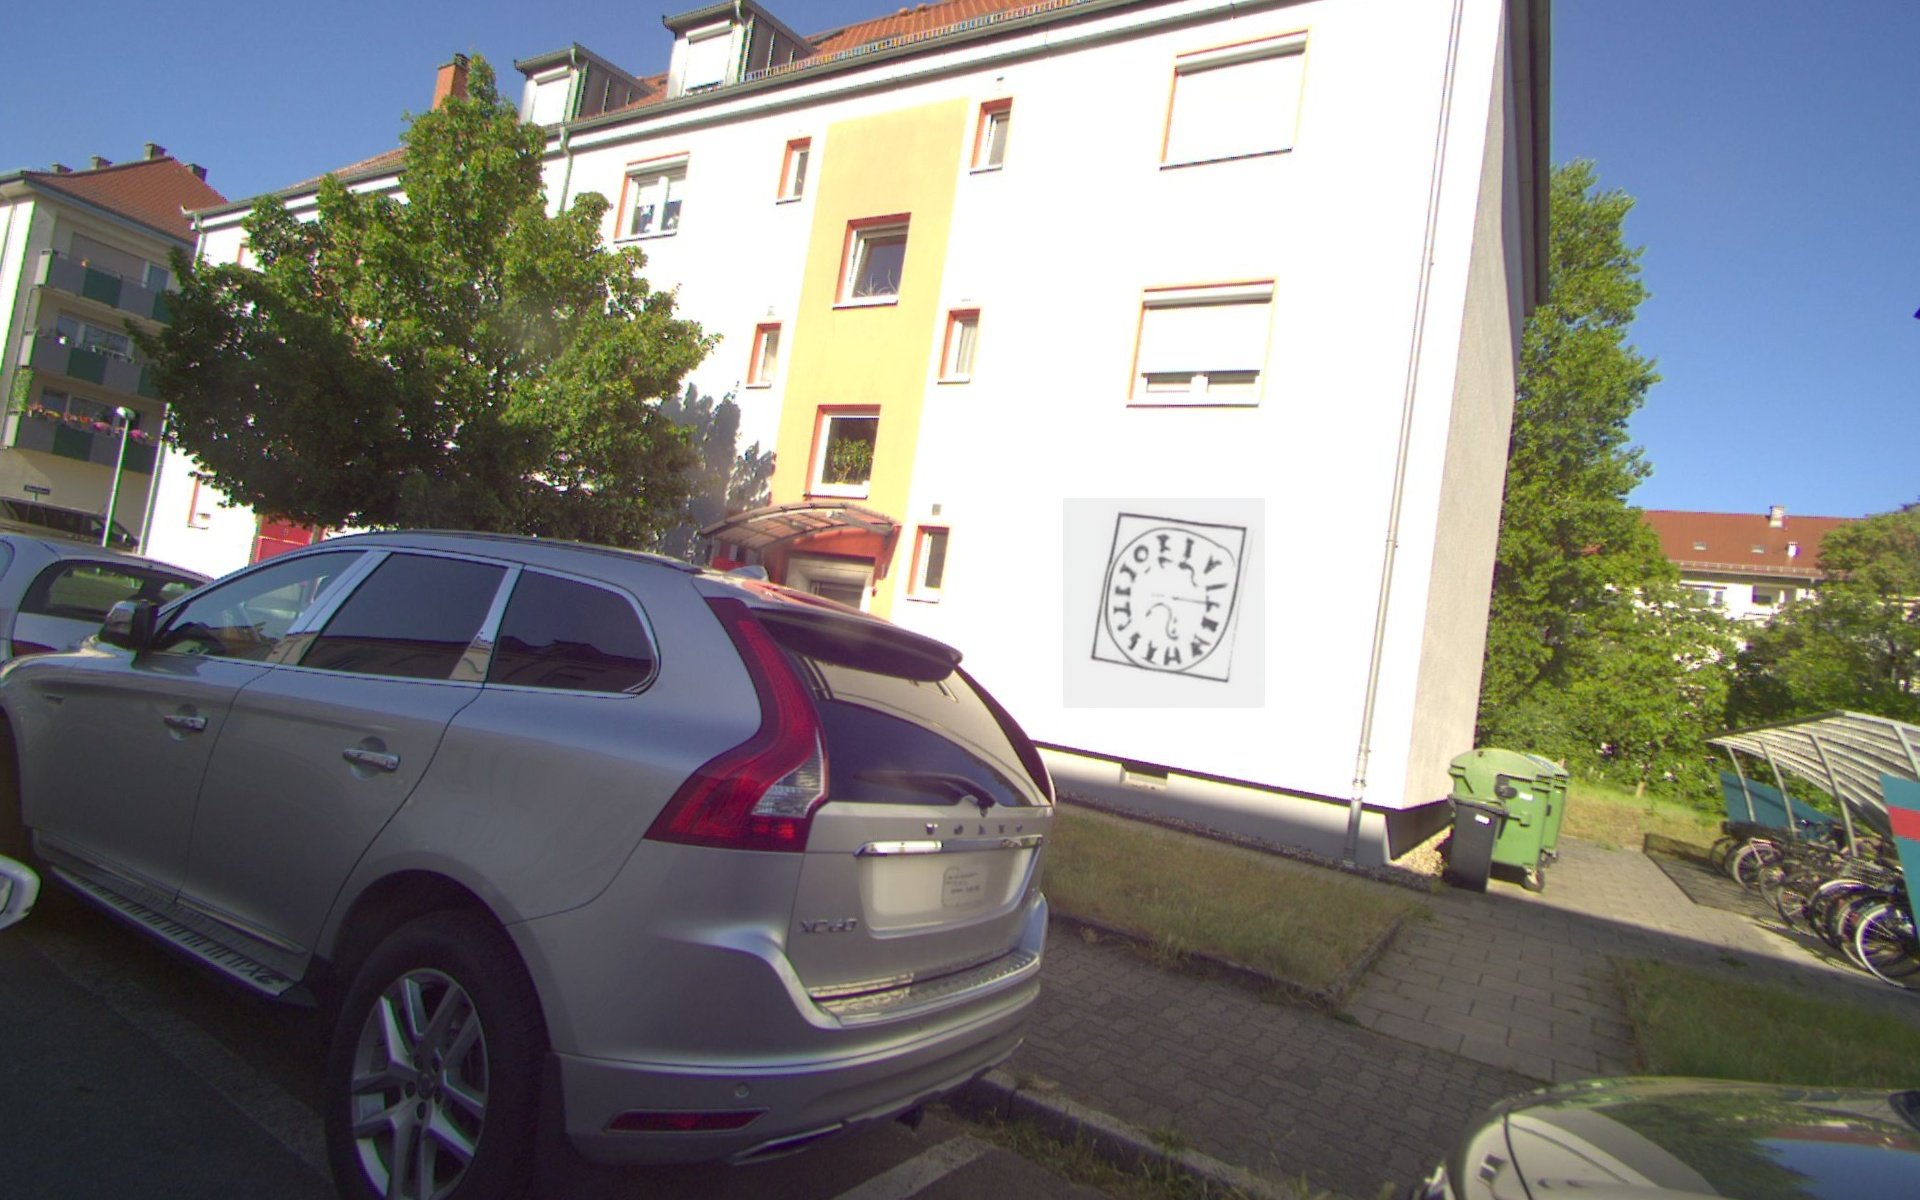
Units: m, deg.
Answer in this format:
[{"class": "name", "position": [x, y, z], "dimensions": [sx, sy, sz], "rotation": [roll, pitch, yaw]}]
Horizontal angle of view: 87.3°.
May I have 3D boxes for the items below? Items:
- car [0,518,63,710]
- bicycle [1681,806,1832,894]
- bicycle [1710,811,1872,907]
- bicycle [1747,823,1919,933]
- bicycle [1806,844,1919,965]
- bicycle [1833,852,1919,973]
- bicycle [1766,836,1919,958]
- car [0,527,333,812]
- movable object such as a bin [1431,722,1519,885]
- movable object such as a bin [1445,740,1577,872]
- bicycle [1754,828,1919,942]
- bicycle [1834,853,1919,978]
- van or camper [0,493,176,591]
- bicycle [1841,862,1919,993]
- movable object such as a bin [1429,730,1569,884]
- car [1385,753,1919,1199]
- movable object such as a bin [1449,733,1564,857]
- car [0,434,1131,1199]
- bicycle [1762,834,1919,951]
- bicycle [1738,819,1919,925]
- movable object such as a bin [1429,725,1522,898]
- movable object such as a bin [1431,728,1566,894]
[{"class": "car", "position": [-9.434, -0.208, 8.302], "dimensions": [3.883, 1.464, 1.636], "rotation": [8, -5, 28]}, {"class": "bicycle", "position": [12.413, 3.882, 15.724], "dimensions": [1.708, 0.957, 0.422], "rotation": [7, -1, 23]}, {"class": "bicycle", "position": [12.046, 3.737, 14.644], "dimensions": [1.714, 0.957, 0.421], "rotation": [6, -2, 39]}, {"class": "bicycle", "position": [11.220, 3.529, 12.858], "dimensions": [1.711, 0.957, 0.421], "rotation": [7, -1, 32]}, {"class": "bicycle", "position": [9.215, 3.027, 9.884], "dimensions": [1.262, 0.957, 0.319], "rotation": [7, -1, 34]}, {"class": "bicycle", "position": [9.032, 2.979, 9.359], "dimensions": [1.262, 0.957, 0.319], "rotation": [7, -1, 34]}, {"class": "bicycle", "position": [9.541, 3.149, 10.635], "dimensions": [1.484, 0.957, 0.319], "rotation": [7, -1, 34]}, {"class": "car", "position": [-5.922, 0.304, 6.519], "dimensions": [3.431, 1.407, 1.635], "rotation": [7, -6, 32]}, {"class": "movable object such as a bin", "position": [5.475, 2.133, 10.683], "dimensions": [0.614, 1.568, 0.595], "rotation": [7, -2, 32]}, {"class": "movable object such as a bin", "position": [7.576, 2.778, 13.806], "dimensions": [1.378, 1.450, 1.298], "rotation": [7, -3, 32]}, {"class": "bicycle", "position": [10.516, 3.382, 12.043], "dimensions": [1.484, 0.957, 0.319], "rotation": [7, -1, 34]}, {"class": "bicycle", "position": [8.711, 2.894, 8.977], "dimensions": [1.262, 0.957, 0.319], "rotation": [7, -1, 34]}, {"class": "van or camper", "position": [-25.906, -1.757, 28.590], "dimensions": [1.967, 2.035, 5.139], "rotation": [9, -3, 32]}, {"class": "bicycle", "position": [8.294, 2.834, 8.423], "dimensions": [1.262, 0.957, 0.319], "rotation": [7, -1, 34]}, {"class": "movable object such as a bin", "position": [6.779, 2.543, 12.632], "dimensions": [1.317, 1.568, 1.298], "rotation": [7, -3, 32]}, {"class": "car", "position": [2.592, 1.280, 1.139], "dimensions": [3.793, 1.463, 1.624], "rotation": [7, -6, 31]}, {"class": "movable object such as a bin", "position": [8.321, 2.920, 15.294], "dimensions": [1.317, 1.568, 1.125], "rotation": [7, -3, 32]}, {"class": "car", "position": [-1.806, 0.574, 3.594], "dimensions": [4.233, 1.735, 1.784], "rotation": [7, -6, 29]}, {"class": "bicycle", "position": [10.090, 3.300, 11.382], "dimensions": [1.484, 0.957, 0.319], "rotation": [7, -1, 34]}, {"class": "bicycle", "position": [11.564, 3.608, 13.450], "dimensions": [1.711, 0.957, 0.421], "rotation": [7, -1, 32]}, {"class": "movable object such as a bin", "position": [5.177, 2.089, 10.089], "dimensions": [0.614, 1.568, 0.595], "rotation": [7, -2, 32]}, {"class": "movable object such as a bin", "position": [6.137, 2.338, 11.431], "dimensions": [1.126, 1.568, 1.298], "rotation": [7, -3, 32]}]
